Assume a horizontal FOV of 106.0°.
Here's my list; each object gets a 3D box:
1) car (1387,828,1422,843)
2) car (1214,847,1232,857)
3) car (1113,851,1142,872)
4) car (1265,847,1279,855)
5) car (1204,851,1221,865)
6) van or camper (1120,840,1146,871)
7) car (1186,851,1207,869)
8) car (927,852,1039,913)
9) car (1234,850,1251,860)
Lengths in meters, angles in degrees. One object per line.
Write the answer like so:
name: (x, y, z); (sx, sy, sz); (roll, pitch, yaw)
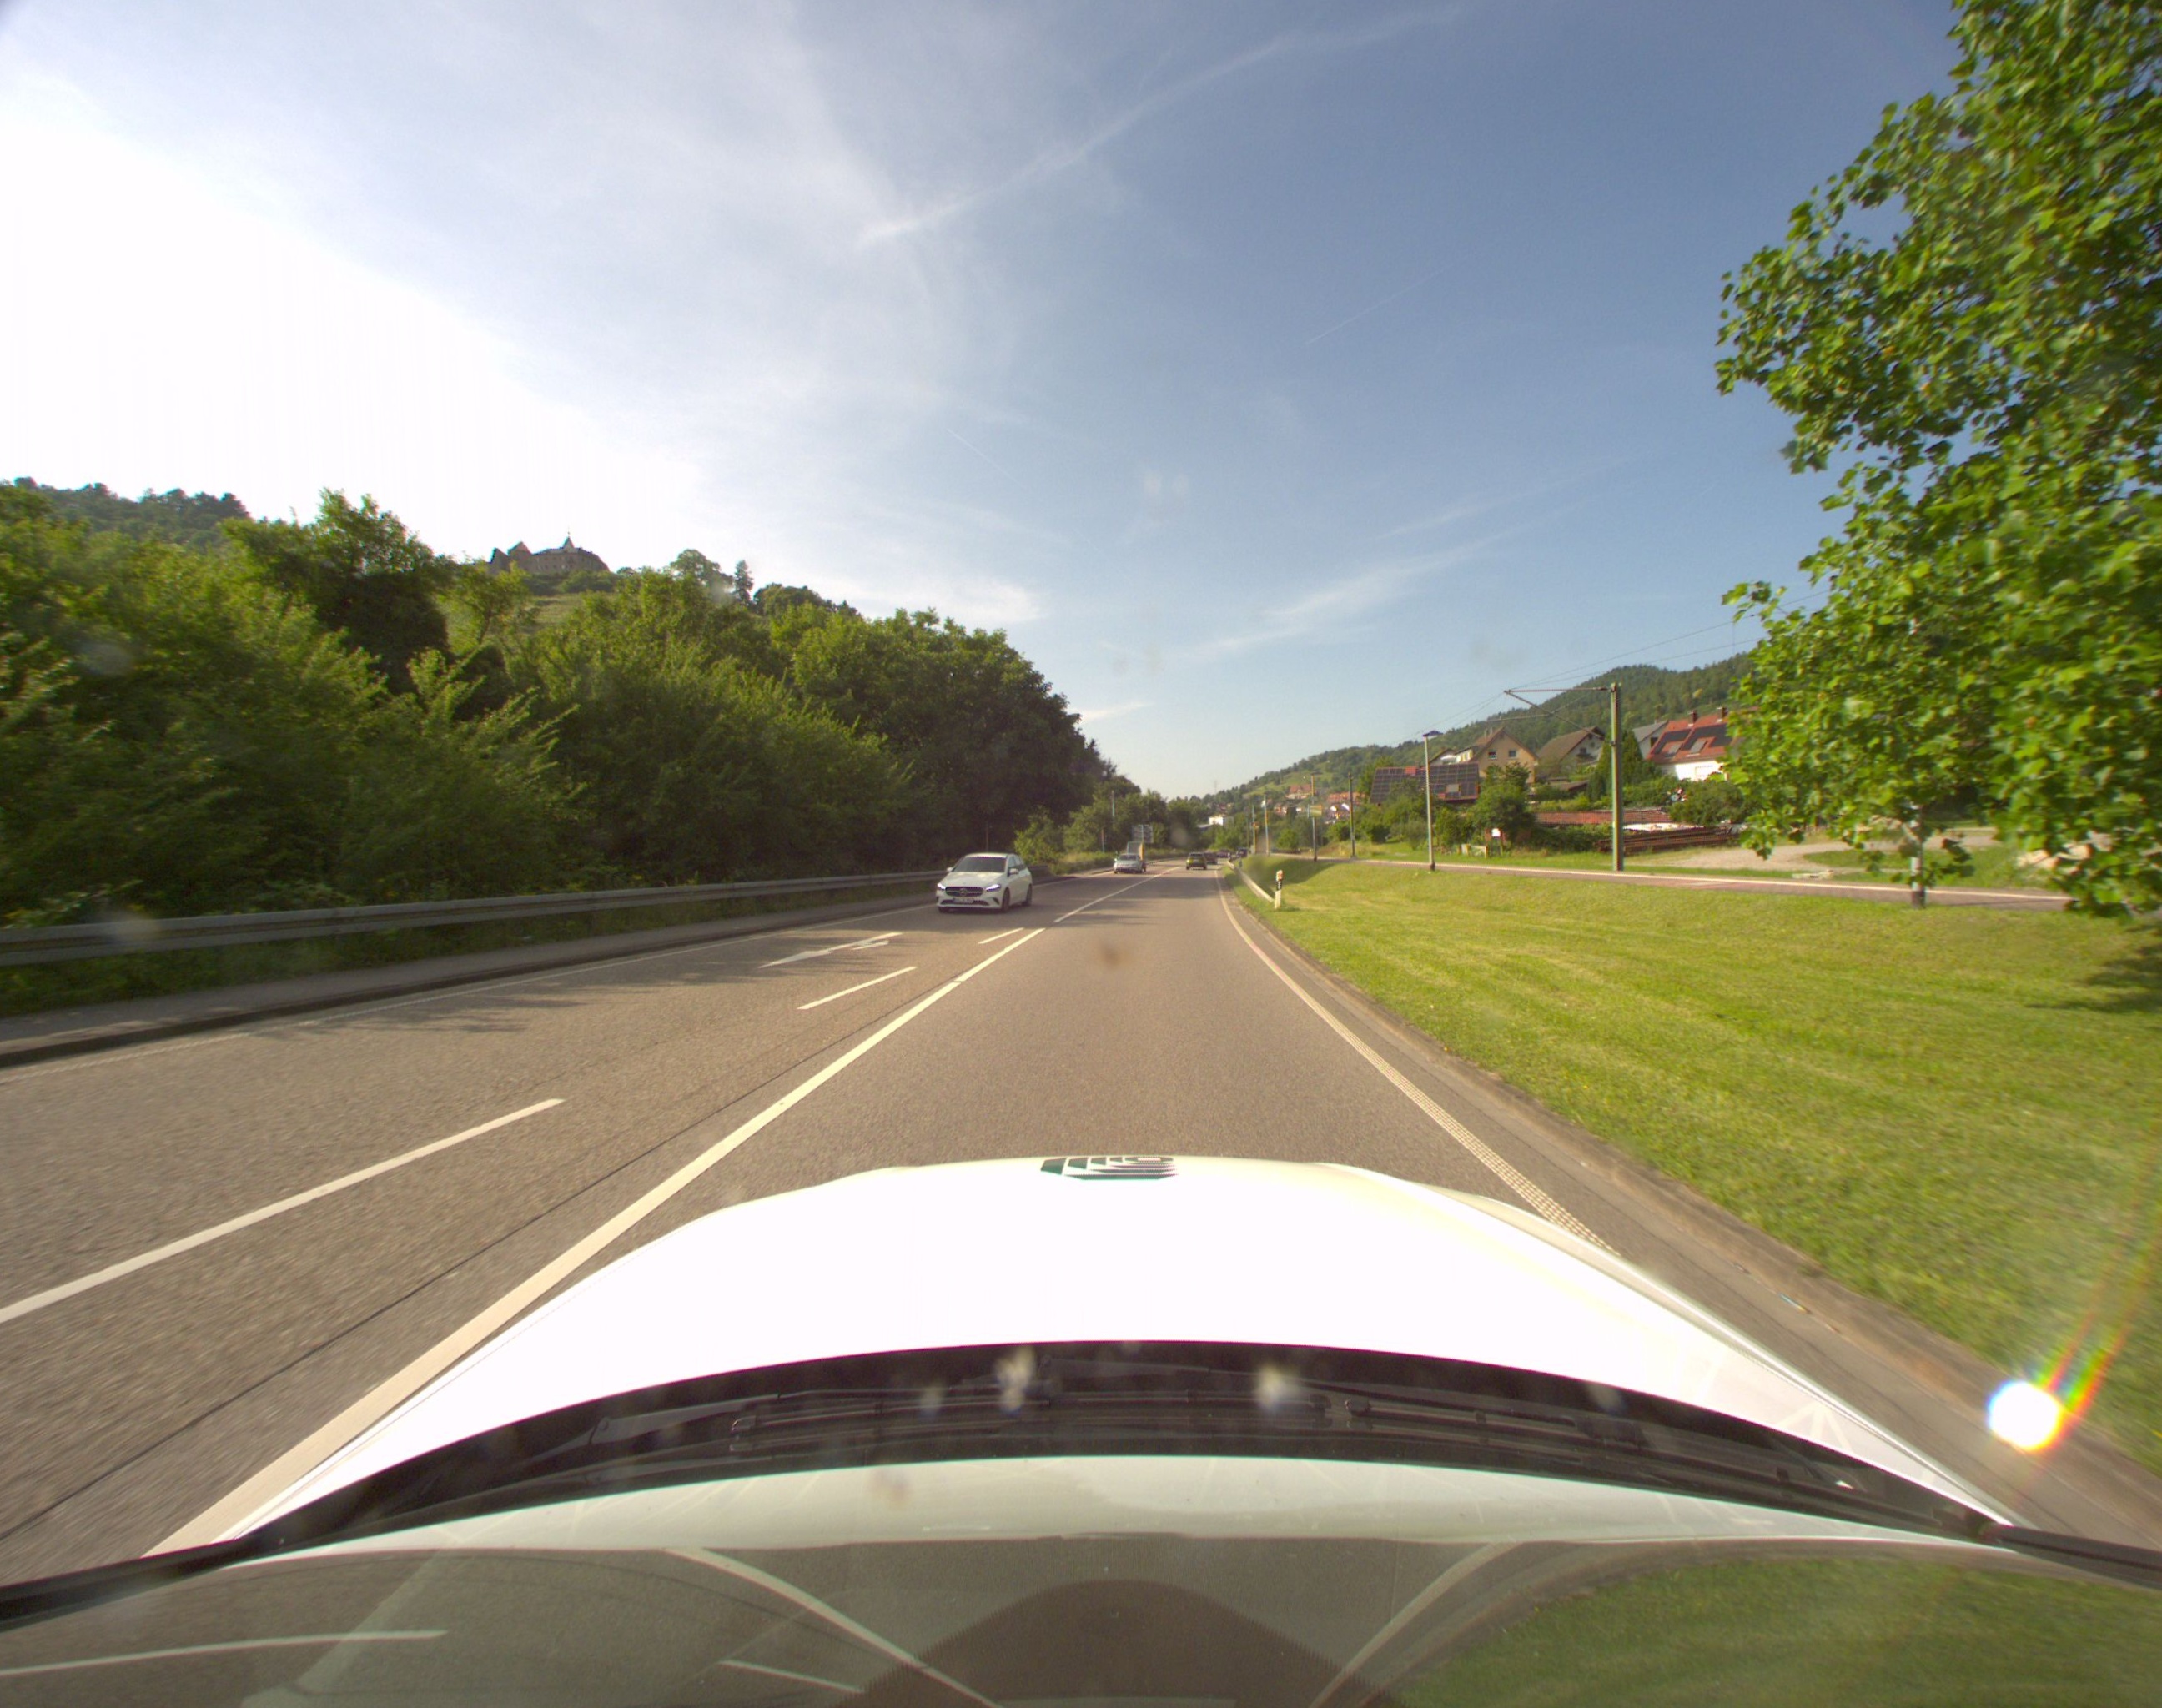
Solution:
car: (40.720, -2.281, 102.418); (3.950, 1.684, 2.012); (-3, 0, 25)
car: (22.385, -0.267, 128.517); (1.826, 1.469, 4.969); (1, 1, 20)
car: (3.373, 0.508, 58.559); (1.639, 1.436, 4.617); (1, 0, 9)
car: (34.456, -0.581, 146.706); (1.792, 1.408, 3.795); (-3, 0, 24)
car: (15.047, 0.440, 93.198); (1.829, 1.459, 3.722); (-3, 0, 9)
van or camper: (4.065, 0.095, 62.848); (1.593, 2.328, 4.069); (1, 0, 9)
car: (10.176, 0.489, 71.678); (1.718, 1.457, 3.420); (-3, 0, 9)
car: (-2.545, 0.690, 22.379); (1.934, 1.486, 4.595); (0, 0, 8)
car: (24.729, 0.120, 124.852); (1.791, 1.453, 3.667); (-3, 0, 22)
